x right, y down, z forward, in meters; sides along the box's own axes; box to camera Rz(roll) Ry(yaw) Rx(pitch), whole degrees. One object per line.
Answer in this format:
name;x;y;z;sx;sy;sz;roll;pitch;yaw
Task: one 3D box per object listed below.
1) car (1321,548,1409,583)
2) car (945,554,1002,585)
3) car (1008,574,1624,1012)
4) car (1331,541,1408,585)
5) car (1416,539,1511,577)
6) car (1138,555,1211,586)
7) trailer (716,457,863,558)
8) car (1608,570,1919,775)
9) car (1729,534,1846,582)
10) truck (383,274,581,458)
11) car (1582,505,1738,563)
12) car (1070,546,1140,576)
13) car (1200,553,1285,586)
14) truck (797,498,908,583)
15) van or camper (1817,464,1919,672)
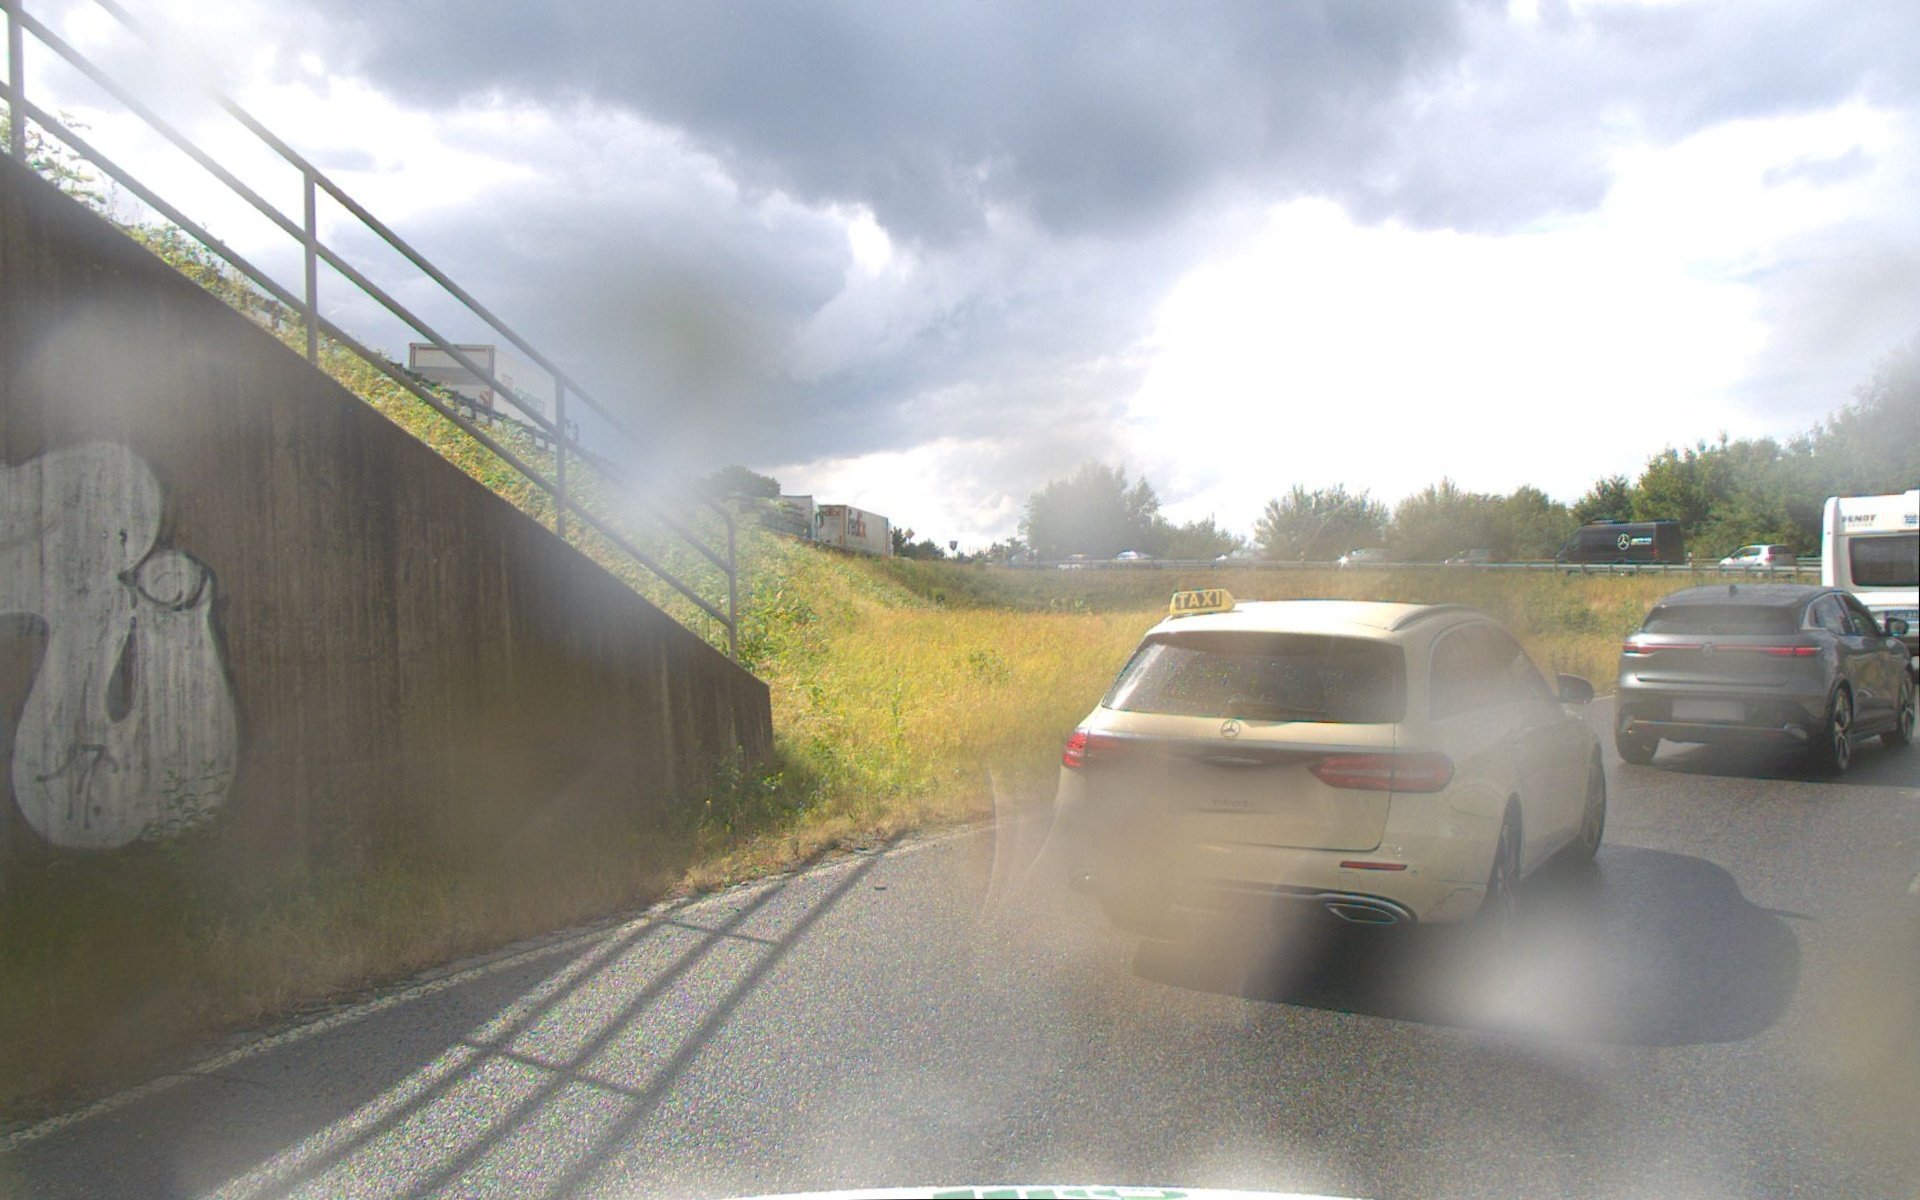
car;24.464;-2.060;99.995;1.981;1.894;4.985;0;-1;-39
car;0.948;-2.090;114.960;3.904;2.049;1.827;0;-2;1
car;2.082;0.668;8.292;1.879;1.533;4.590;0;0;28
car;24.556;-2.210;99.211;3.927;2.049;1.988;-8;-8;41
car;28.642;-2.347;94.157;1.978;1.894;4.993;-1;-1;-36
car;14.341;-1.950;110.783;4.416;1.894;1.995;-2;-1;33
trailer;-9.690;-5.165;98.346;4.319;4.026;20.230;0;-2;7
car;7.274;0.524;14.613;1.692;1.551;3.978;0;1;40
car;37.449;-1.877;74.999;1.959;1.894;5.039;-1;-1;-13
truck;-14.521;-6.997;51.211;3.114;4.036;9.237;0;-2;2
car;34.680;-3.228;82.164;2.833;2.640;6.920;-2;1;-28
car;10.344;-2.752;118.193;1.982;1.894;4.981;0;-1;-41
car;17.936;-1.898;105.137;4.964;1.894;1.989;-2;-1;41
truck;-7.355;-3.973;117.800;4.365;4.583;19.387;0;-2;7
van or camper;14.859;-0.432;24.271;2.398;2.777;5.957;0;0;45
